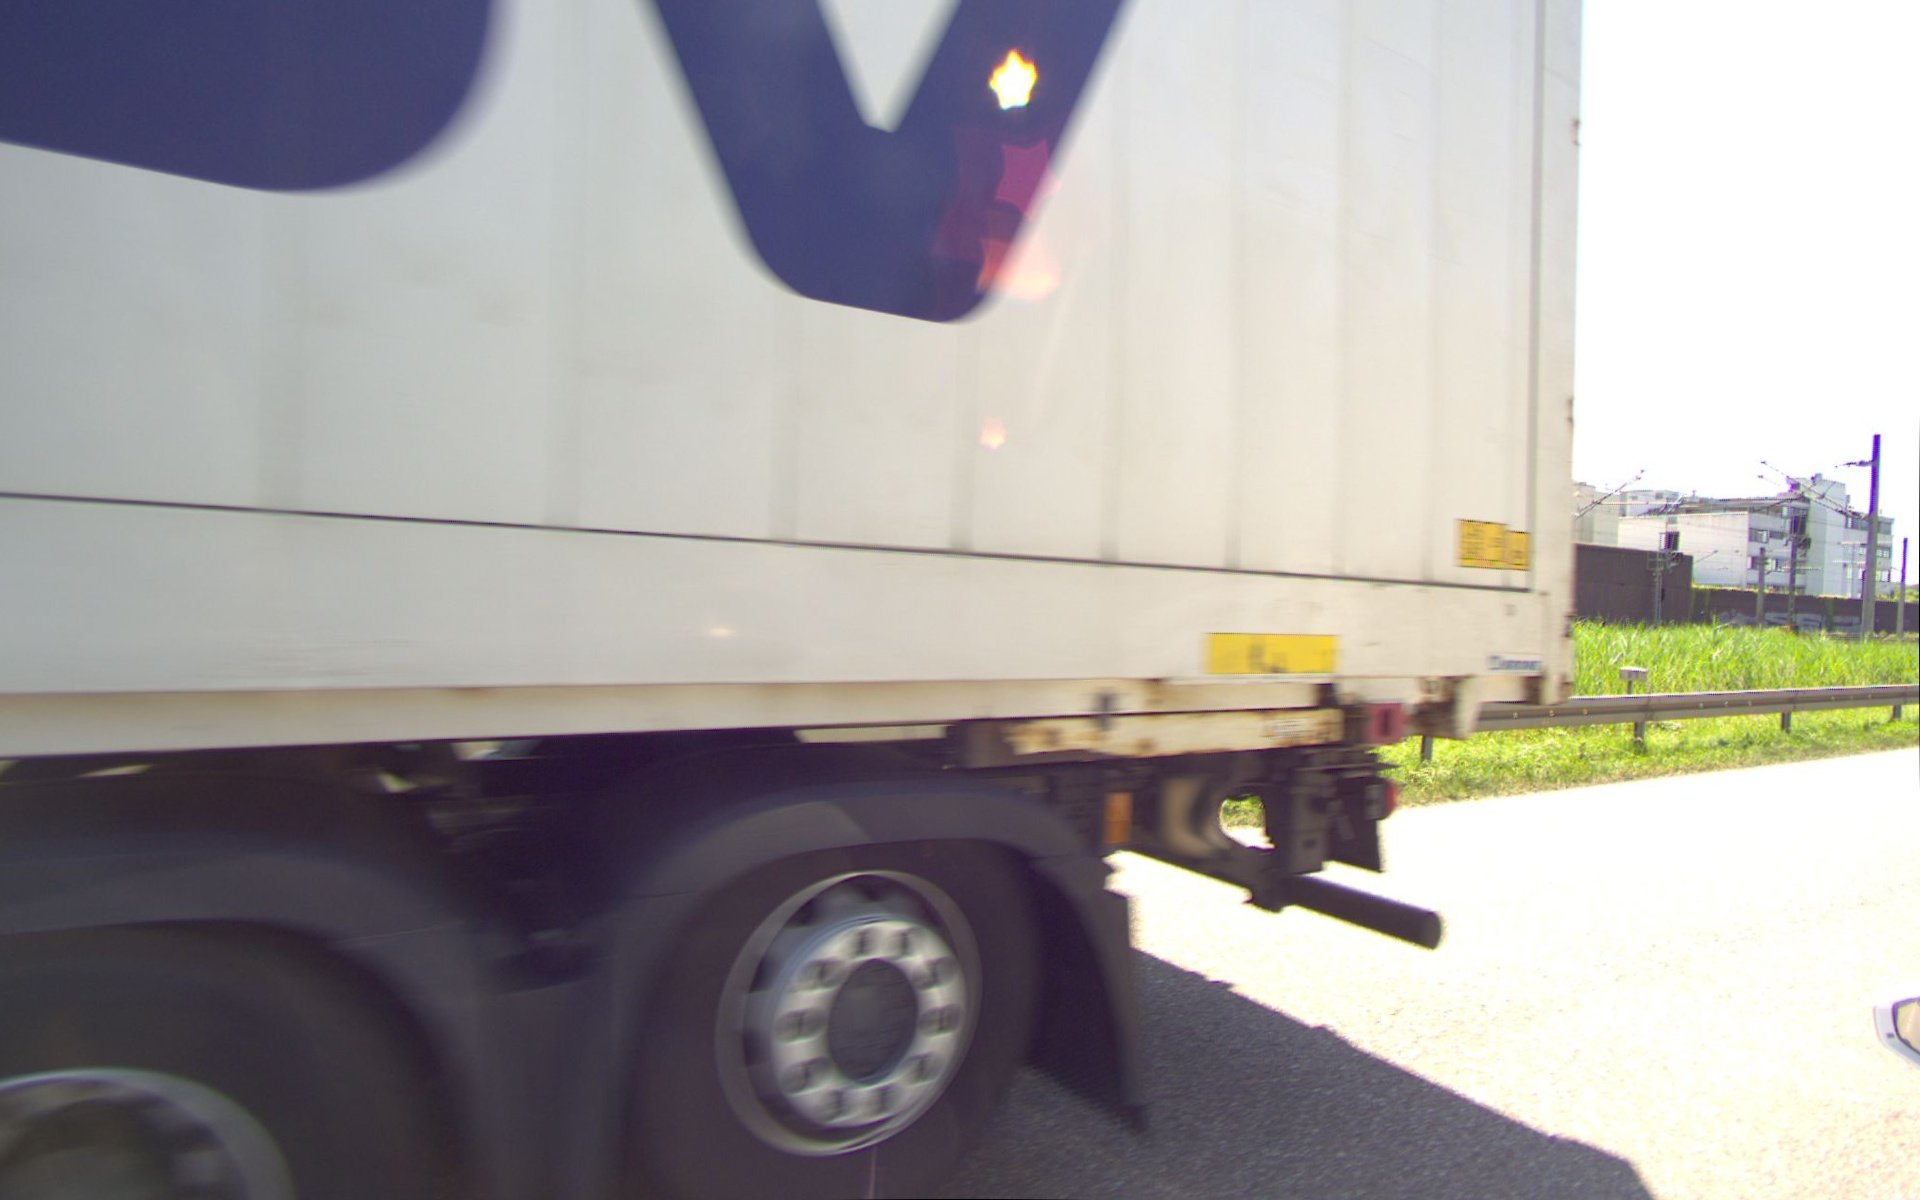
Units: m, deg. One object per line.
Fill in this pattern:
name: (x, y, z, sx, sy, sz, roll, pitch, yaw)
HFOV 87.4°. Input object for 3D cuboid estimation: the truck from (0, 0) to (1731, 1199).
truck: (-2.274, -0.572, 2.302, 10.378, 4.030, 2.784, 2, -1, -31)
